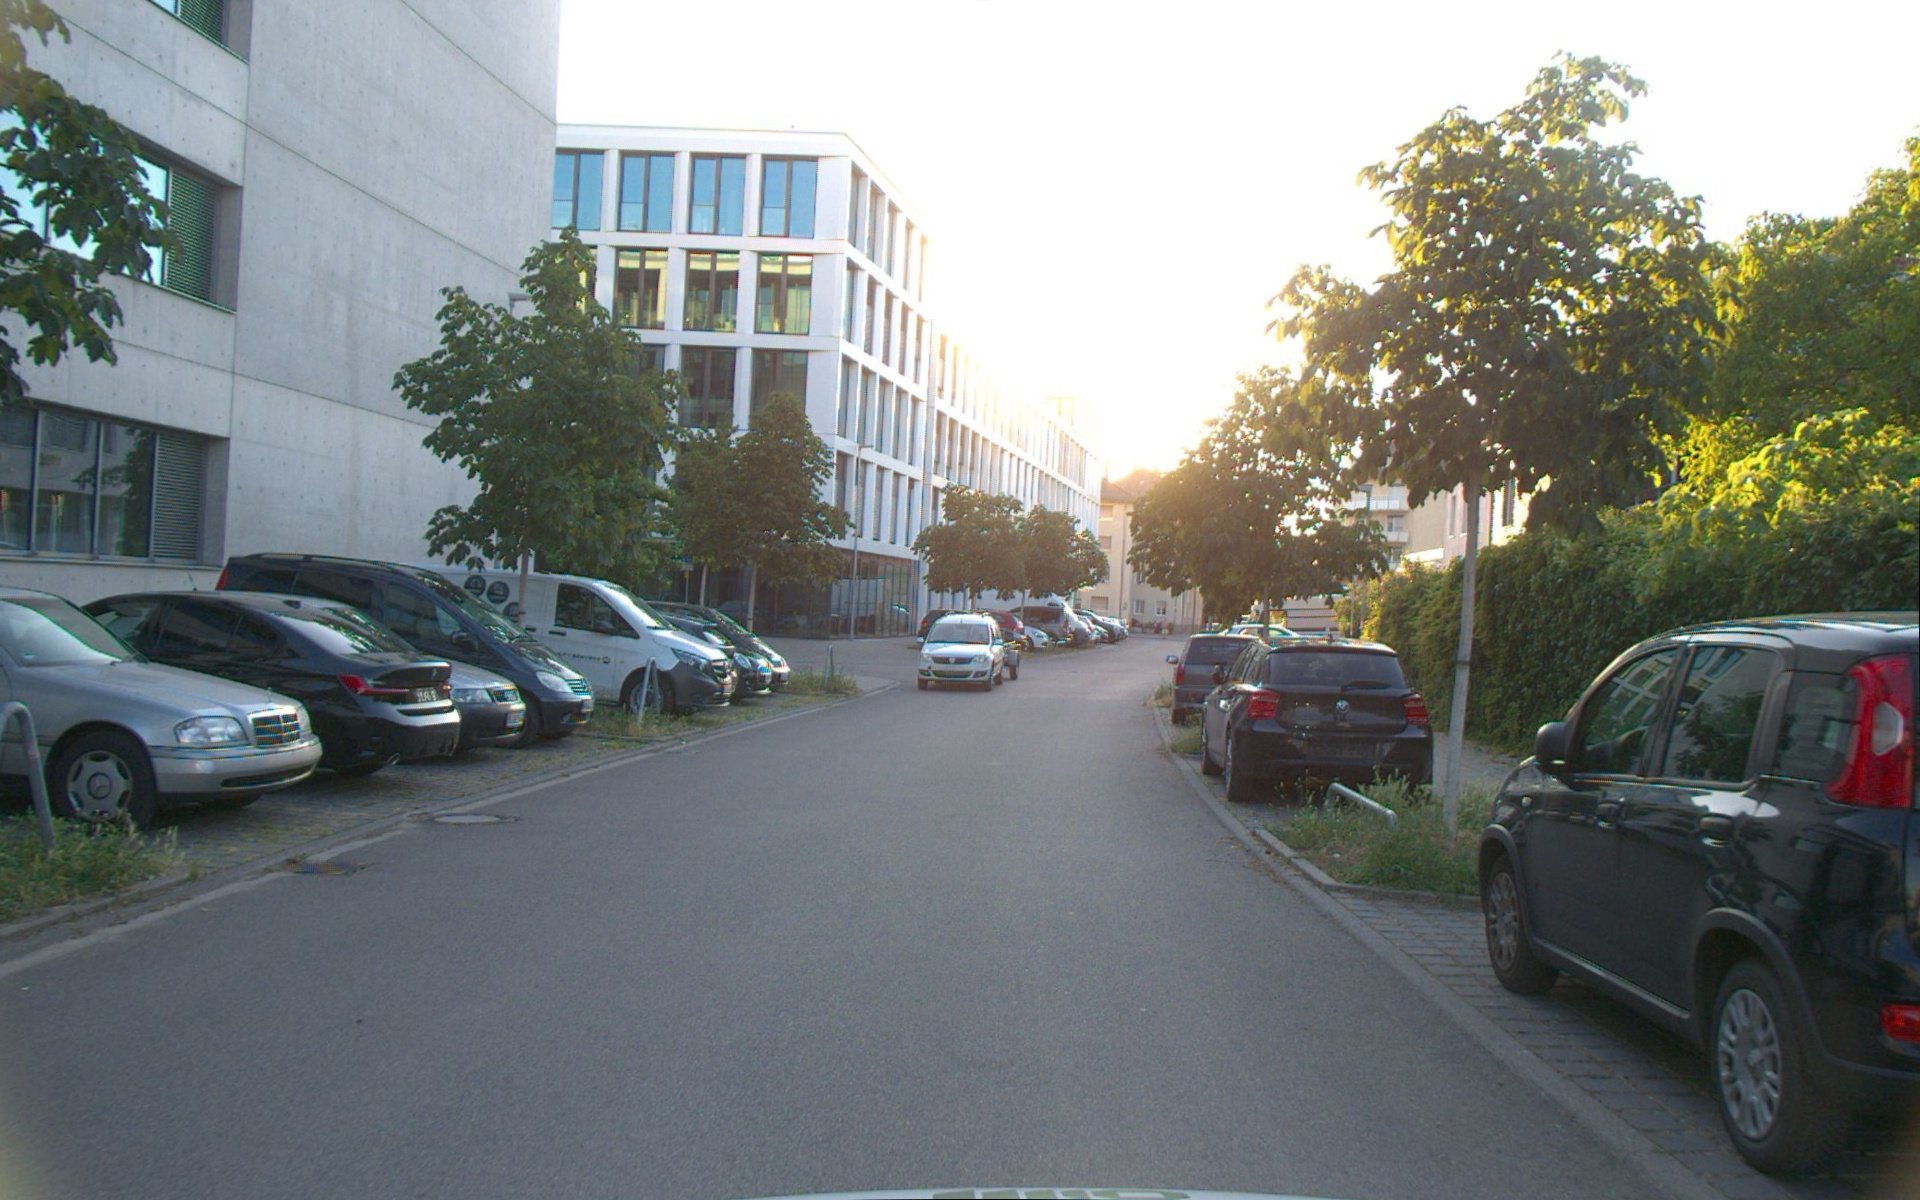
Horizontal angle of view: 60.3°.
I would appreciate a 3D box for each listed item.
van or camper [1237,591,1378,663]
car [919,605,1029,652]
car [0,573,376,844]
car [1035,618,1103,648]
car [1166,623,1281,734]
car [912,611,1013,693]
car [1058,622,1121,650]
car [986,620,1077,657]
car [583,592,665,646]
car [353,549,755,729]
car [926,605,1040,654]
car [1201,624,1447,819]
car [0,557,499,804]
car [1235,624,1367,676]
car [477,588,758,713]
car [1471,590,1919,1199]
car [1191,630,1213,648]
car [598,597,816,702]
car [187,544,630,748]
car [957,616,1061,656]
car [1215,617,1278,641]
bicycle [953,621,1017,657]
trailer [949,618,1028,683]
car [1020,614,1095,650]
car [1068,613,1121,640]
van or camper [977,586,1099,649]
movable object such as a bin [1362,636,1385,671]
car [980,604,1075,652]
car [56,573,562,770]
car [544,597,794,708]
[{"bbox_3d":[14.379,1.090,68.771,5.490,2.839,2.431,1,0,7],"label":"van or camper"},{"bbox_3d":[0.575,1.107,64.767,3.964,1.504,1.769,4,0,11],"label":"car"},{"bbox_3d":[-6.363,0.587,10.863,4.342,1.489,1.764,3,0,2],"label":"car"},{"bbox_3d":[5.843,1.770,88.692,3.483,1.505,1.459,1,0,11],"label":"car"},{"bbox_3d":[4.373,1.236,27.652,1.687,1.607,4.601,3,0,8],"label":"car"},{"bbox_3d":[0.129,1.128,38.022,1.911,1.715,4.724,1,0,5],"label":"car"},{"bbox_3d":[7.435,2.046,94.855,3.483,1.505,1.459,1,0,11],"label":"car"},{"bbox_3d":[3.251,1.722,74.577,3.963,1.551,1.737,1,0,7],"label":"car"},{"bbox_3d":[-10.947,0.605,54.036,1.686,1.511,3.553,2,2,4],"label":"car"},{"bbox_3d":[-5.577,0.532,23.115,4.971,1.980,1.889,5,-1,4],"label":"car"},{"bbox_3d":[0.890,1.078,61.871,3.964,1.504,1.769,4,1,8],"label":"car"},{"bbox_3d":[3.292,1.023,15.693,1.657,1.536,4.195,2,-1,4],"label":"car"},{"bbox_3d":[-6.173,0.569,13.265,4.305,1.525,1.764,5,-1,6],"label":"car"},{"bbox_3d":[10.863,1.569,52.915,3.964,1.505,1.769,1,0,6],"label":"car"},{"bbox_3d":[-5.293,0.777,25.886,3.905,1.548,1.606,5,-1,3],"label":"car"},{"bbox_3d":[3.032,0.787,5.677,1.544,1.536,3.497,2,-1,2],"label":"car"},{"bbox_3d":[23.380,3.787,159.772,1.908,1.612,3.643,2,0,9],"label":"car"},{"bbox_3d":[-4.679,0.898,30.838,3.558,1.604,1.662,5,0,9],"label":"car"},{"bbox_3d":[-5.977,0.494,18.244,4.159,1.772,1.725,5,-1,3],"label":"car"},{"bbox_3d":[1.987,1.439,67.085,3.963,1.505,1.769,1,0,11],"label":"car"},{"bbox_3d":[18.852,1.903,109.087,3.964,1.505,1.769,1,0,6],"label":"car"},{"bbox_3d":[0.907,1.389,59.744,2.132,1.194,0.812,2,-1,11],"label":"bicycle"},{"bbox_3d":[0.780,1.259,42.700,1.670,1.372,3.490,4,2,6],"label":"trailer"},{"bbox_3d":[4.820,1.570,81.632,3.483,1.681,1.459,1,0,11],"label":"car"},{"bbox_3d":[7.932,1.551,97.246,2.950,1.446,1.459,1,0,11],"label":"car"},{"bbox_3d":[3.650,0.801,76.930,5.337,2.527,1.777,4,1,11],"label":"van or camper"},{"bbox_3d":[12.757,1.643,51.032,0.566,1.028,0.689,2,0,6],"label":"movable object such as a bin"},{"bbox_3d":[2.944,1.207,72.046,3.963,1.941,1.737,1,0,7],"label":"car"},{"bbox_3d":[-6.136,0.656,15.888,4.059,1.428,1.725,5,-1,3],"label":"car"},{"bbox_3d":[-4.934,0.877,28.294,3.805,1.514,1.652,5,0,5],"label":"car"}]
